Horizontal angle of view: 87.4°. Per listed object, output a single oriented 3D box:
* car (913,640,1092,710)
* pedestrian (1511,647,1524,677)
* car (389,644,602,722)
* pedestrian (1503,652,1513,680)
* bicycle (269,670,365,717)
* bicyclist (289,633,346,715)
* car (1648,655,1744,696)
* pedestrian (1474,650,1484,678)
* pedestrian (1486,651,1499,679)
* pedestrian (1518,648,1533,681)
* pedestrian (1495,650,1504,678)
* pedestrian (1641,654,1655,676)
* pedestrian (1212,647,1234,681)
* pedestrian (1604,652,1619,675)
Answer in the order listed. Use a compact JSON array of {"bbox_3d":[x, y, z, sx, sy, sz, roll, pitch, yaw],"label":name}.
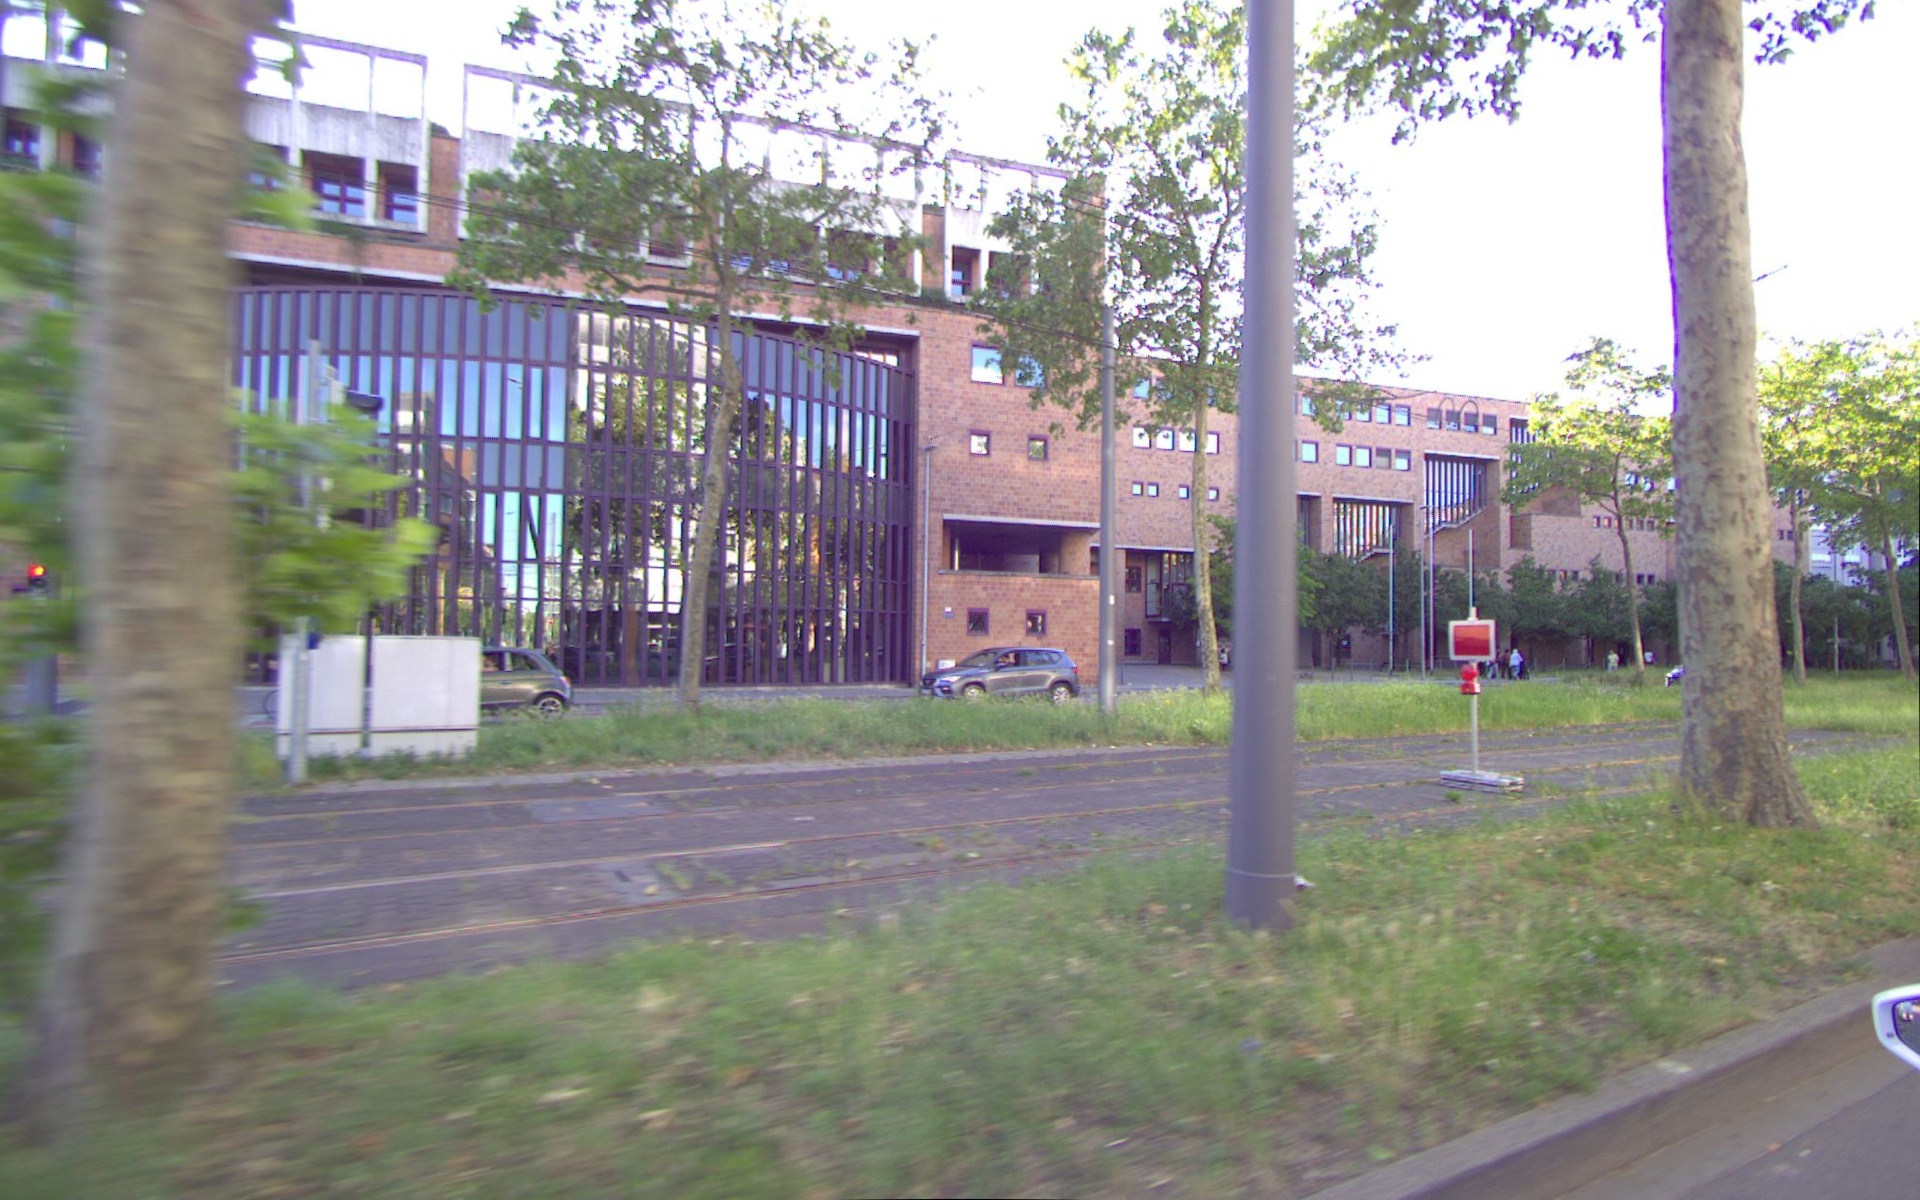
[{"bbox_3d":[1.110,1.831,25.323,4.296,1.582,1.812,1,-2,-33],"label":"car"},{"bbox_3d":[28.975,3.220,52.206,0.417,1.543,0.364,1,-2,-21],"label":"pedestrian"},{"bbox_3d":[-9.074,1.568,19.716,3.585,1.346,1.640,1,-2,-34],"label":"car"},{"bbox_3d":[28.723,3.456,52.656,0.337,1.476,0.317,2,-2,-23],"label":"pedestrian"},{"bbox_3d":[-13.236,1.916,20.715,1.545,0.925,0.534,2,-2,-20],"label":"bicycle"},{"bbox_3d":[-13.256,1.521,20.738,0.802,1.643,0.621,2,-2,-20],"label":"bicyclist"},{"bbox_3d":[27.615,2.806,37.672,3.690,1.417,1.585,2,-2,-30],"label":"car"},{"bbox_3d":[27.075,3.329,52.387,0.327,1.438,0.364,1,-2,-21],"label":"pedestrian"},{"bbox_3d":[27.467,3.337,51.850,0.452,1.435,0.390,2,-2,-22],"label":"pedestrian"},{"bbox_3d":[29.616,3.383,52.610,0.473,1.727,0.435,1,-2,-22],"label":"pedestrian"},{"bbox_3d":[28.503,3.399,53.054,0.311,1.476,0.292,2,-2,-23],"label":"pedestrian"},{"bbox_3d":[41.158,3.905,60.104,0.514,1.308,0.501,2,-2,-24],"label":"pedestrian"},{"bbox_3d":[15.221,3.716,58.170,0.867,1.906,0.976,2,-2,-19],"label":"pedestrian"},{"bbox_3d":[36.694,3.573,56.546,0.514,1.308,0.501,2,-2,-24],"label":"pedestrian"}]
